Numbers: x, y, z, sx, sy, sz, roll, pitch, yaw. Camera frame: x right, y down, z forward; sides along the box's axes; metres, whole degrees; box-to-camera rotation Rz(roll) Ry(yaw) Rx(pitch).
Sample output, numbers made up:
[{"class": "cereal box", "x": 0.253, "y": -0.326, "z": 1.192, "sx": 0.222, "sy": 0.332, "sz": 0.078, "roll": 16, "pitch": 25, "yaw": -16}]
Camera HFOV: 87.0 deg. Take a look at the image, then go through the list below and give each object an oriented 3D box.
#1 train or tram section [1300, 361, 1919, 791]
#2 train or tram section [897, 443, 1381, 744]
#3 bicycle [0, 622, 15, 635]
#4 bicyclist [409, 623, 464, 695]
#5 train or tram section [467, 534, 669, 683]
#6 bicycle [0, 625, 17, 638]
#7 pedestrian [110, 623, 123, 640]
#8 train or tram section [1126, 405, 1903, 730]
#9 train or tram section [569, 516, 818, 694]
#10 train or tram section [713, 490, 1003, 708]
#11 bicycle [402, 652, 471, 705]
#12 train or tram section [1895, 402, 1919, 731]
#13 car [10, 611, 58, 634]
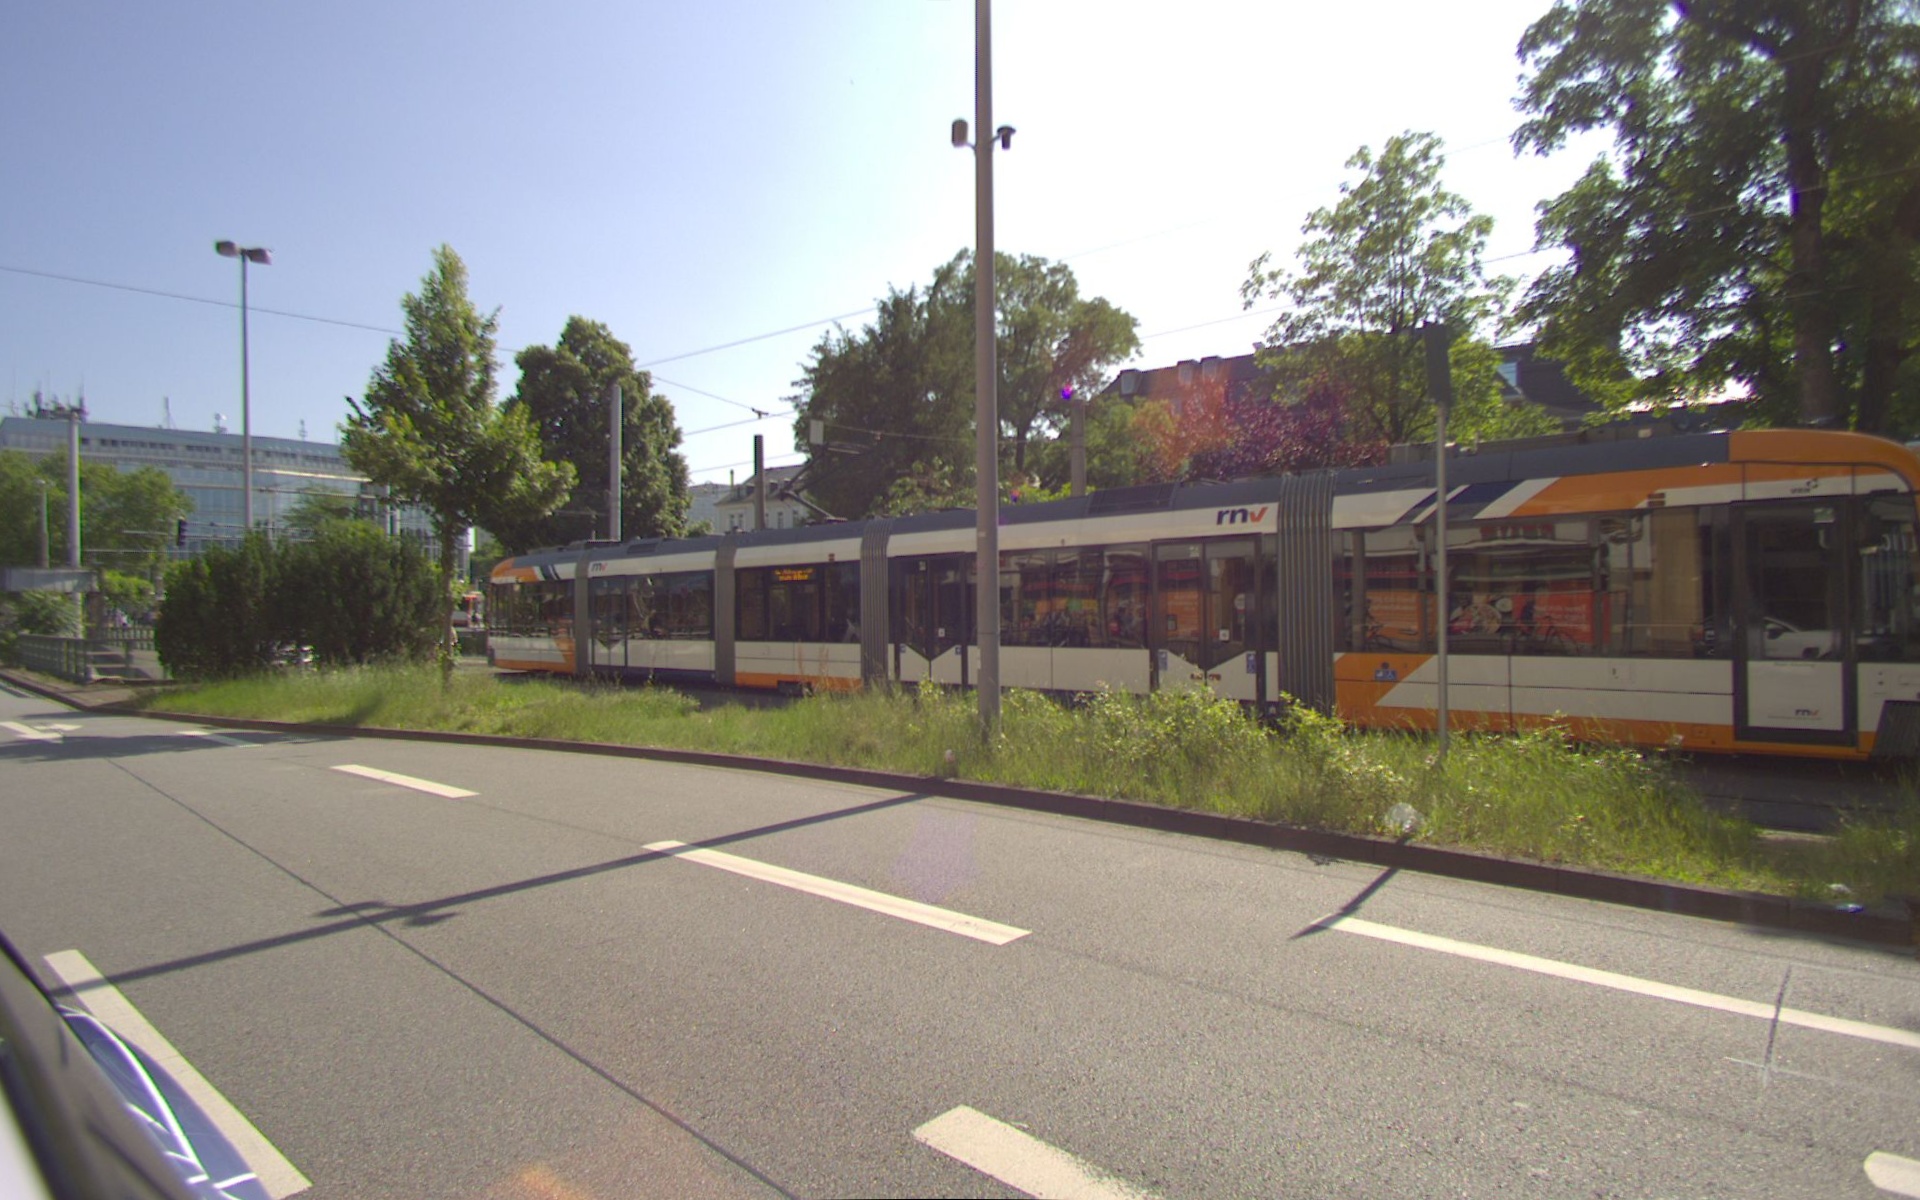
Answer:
[{"class": "train or tram section", "x": 7.196, "y": -0.199, "z": 11.033, "sx": 6.016, "sy": 3.608, "sz": 2.586, "roll": -1, "pitch": 1, "yaw": 42}, {"class": "train or tram section", "x": 2.412, "y": -0.101, "z": 15.413, "sx": 6.897, "sy": 3.607, "sz": 2.586, "roll": -1, "pitch": 2, "yaw": 42}, {"class": "bicycle", "x": -87.824, "y": 2.605, "z": 92.645, "sx": 0.482, "sy": 1.156, "sz": 1.841, "roll": -1, "pitch": 0, "yaw": 40}, {"class": "bicyclist", "x": -12.225, "y": 1.375, "z": 23.643, "sx": 0.902, "sy": 1.634, "sz": 0.808, "roll": -2, "pitch": -4, "yaw": 42}, {"class": "train or tram section", "x": -10.787, "y": 0.183, "z": 27.587, "sx": 6.102, "sy": 3.607, "sz": 2.586, "roll": -1, "pitch": 2, "yaw": 42}, {"class": "bicycle", "x": -86.777, "y": 2.892, "z": 91.807, "sx": 0.482, "sy": 1.156, "sz": 1.735, "roll": -1, "pitch": 0, "yaw": 40}, {"class": "pedestrian", "x": -72.843, "y": 2.725, "z": 87.379, "sx": 0.549, "sy": 1.477, "sz": 0.621, "roll": 0, "pitch": -3, "yaw": 20}, {"class": "train or tram section", "x": 7.643, "y": -0.322, "z": 15.665, "sx": 10.030, "sy": 3.608, "sz": 2.792, "roll": -1, "pitch": 1, "yaw": 42}, {"class": "train or tram section", "x": -6.304, "y": 0.071, "z": 23.449, "sx": 6.102, "sy": 3.607, "sz": 2.586, "roll": -1, "pitch": 2, "yaw": 42}, {"class": "train or tram section", "x": -2.079, "y": -0.044, "z": 19.563, "sx": 5.356, "sy": 3.607, "sz": 2.586, "roll": -1, "pitch": 2, "yaw": 42}, {"class": "bicycle", "x": -12.197, "y": 1.801, "z": 23.545, "sx": 1.874, "sy": 1.129, "sz": 0.808, "roll": -1, "pitch": -3, "yaw": 43}, {"class": "train or tram section", "x": 14.397, "y": -0.490, "z": 9.434, "sx": 8.224, "sy": 3.608, "sz": 2.792, "roll": -1, "pitch": 1, "yaw": 42}, {"class": "car", "x": -88.714, "y": 2.129, "z": 96.990, "sx": 1.965, "sy": 2.028, "sz": 5.084, "roll": -2, "pitch": 1, "yaw": -26}]
